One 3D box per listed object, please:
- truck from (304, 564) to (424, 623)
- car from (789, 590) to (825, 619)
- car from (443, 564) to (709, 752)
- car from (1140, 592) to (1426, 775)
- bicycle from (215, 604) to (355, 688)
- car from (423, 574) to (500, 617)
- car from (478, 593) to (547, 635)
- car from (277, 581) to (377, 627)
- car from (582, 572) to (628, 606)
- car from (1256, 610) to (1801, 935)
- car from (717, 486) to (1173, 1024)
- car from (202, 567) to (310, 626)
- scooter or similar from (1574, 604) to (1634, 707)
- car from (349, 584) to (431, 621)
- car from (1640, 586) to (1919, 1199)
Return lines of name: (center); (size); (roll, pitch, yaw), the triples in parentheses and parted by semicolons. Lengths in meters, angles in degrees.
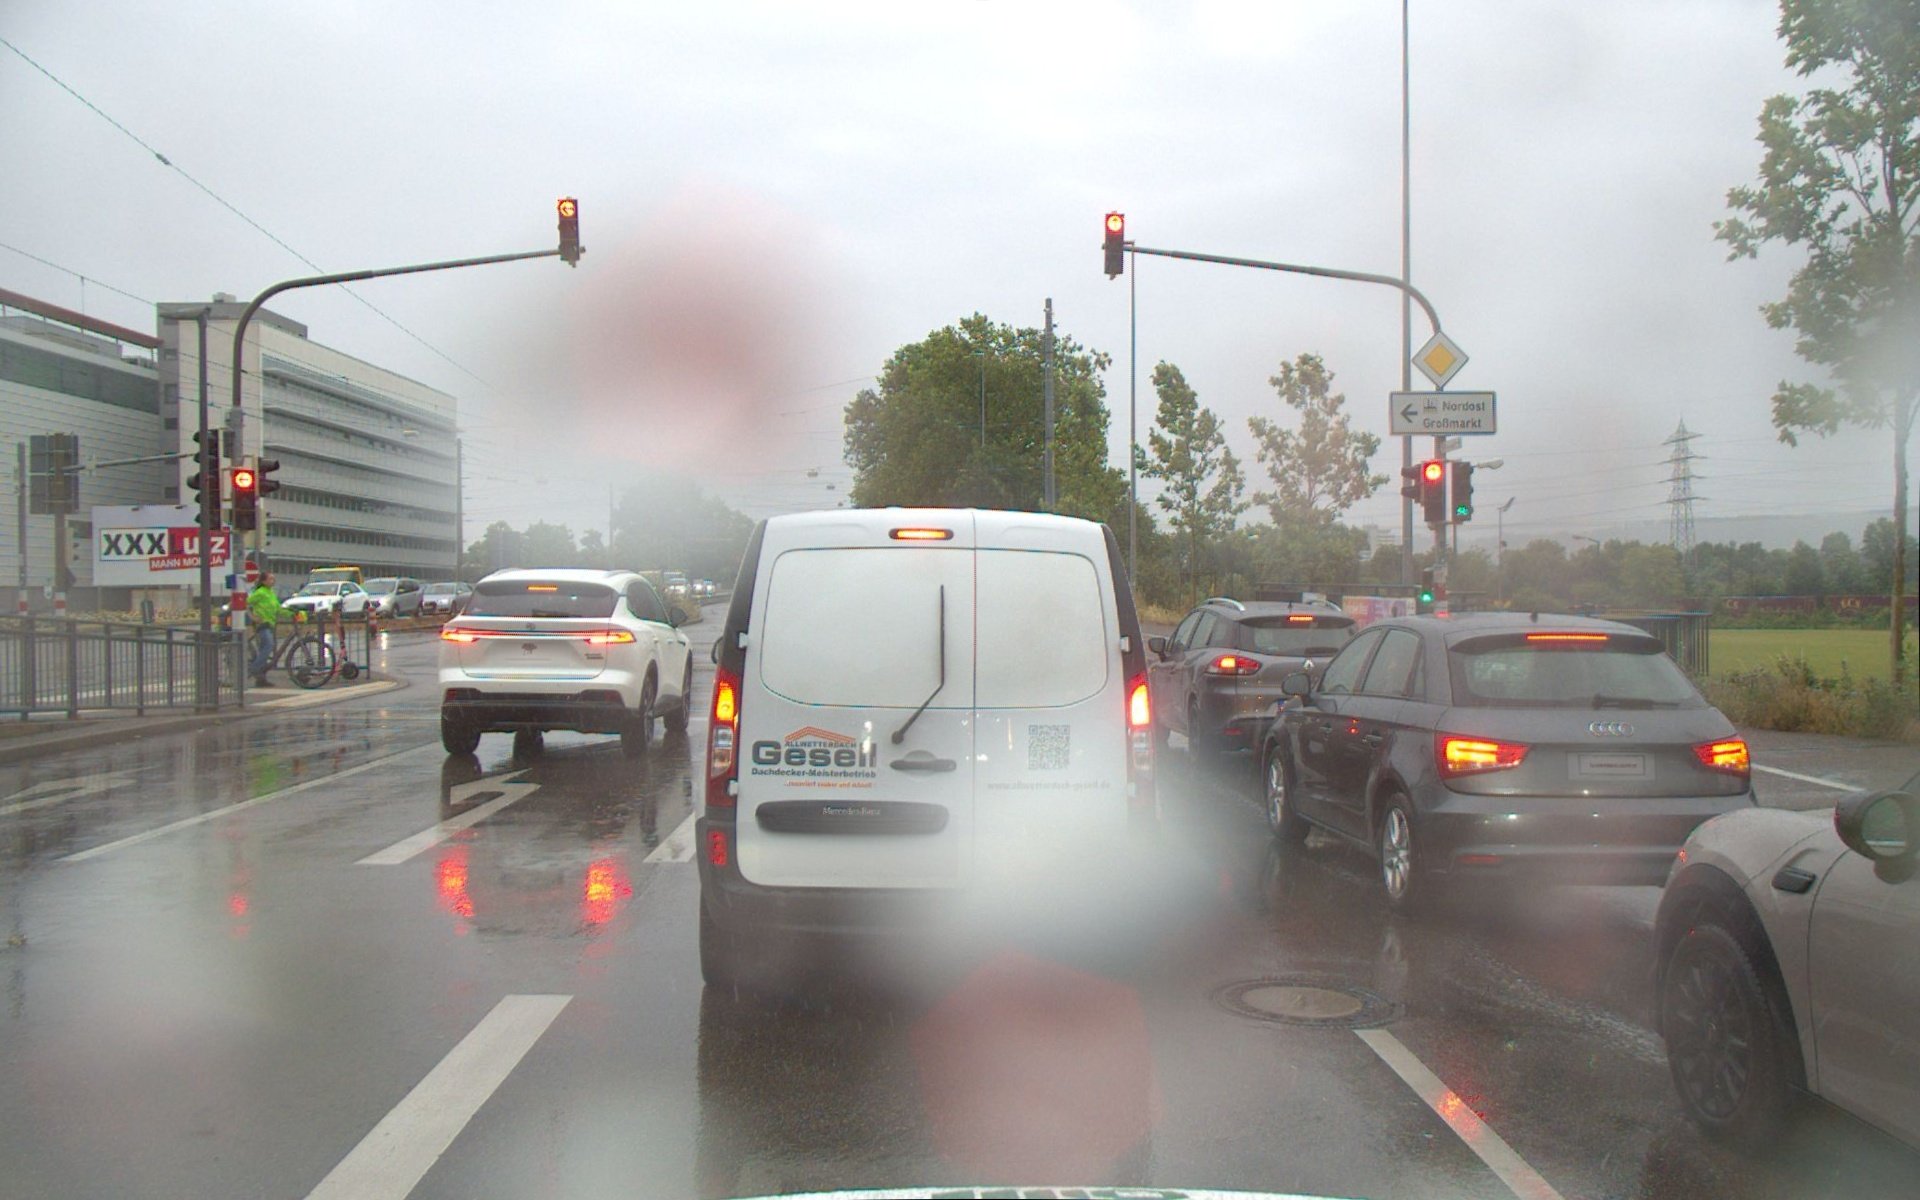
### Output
truck: (-25.106, -0.241, 70.078); (2.303, 2.319, 7.632); (1, 0, 0)
car: (-8.211, 0.233, 88.776); (1.585, 1.530, 3.706); (1, 0, -10)
car: (-3.562, 0.470, 16.112); (1.694, 1.562, 4.296); (1, 1, -2)
car: (2.874, 0.682, 15.565); (1.822, 1.453, 3.806); (1, 1, -2)
bicycle: (-9.500, 0.642, 23.301); (1.716, 1.052, 0.414); (4, -1, -3)
car: (-21.061, -0.179, 70.035); (1.853, 1.729, 4.001); (1, 0, 3)
car: (-20.809, 0.641, 77.105); (1.889, 1.859, 4.002); (1, 0, 4)
car: (-21.675, 0.148, 56.794); (1.662, 1.518, 3.878); (1, 0, 5)
car: (-22.224, -0.684, 103.725); (1.952, 2.049, 4.000); (1, 0, 1)
car: (2.787, 0.760, 8.956); (1.596, 1.368, 3.622); (1, 0, -2)
car: (-0.074, 0.532, 7.623); (1.534, 1.819, 3.999); (0, 0, -1)
car: (-25.299, -0.109, 59.597); (1.952, 2.049, 4.002); (1, 0, 3)
scooter or similar: (7.593, 0.640, 19.528); (0.240, 1.178, 1.186); (1, 0, 1)
car: (-21.577, 0.106, 62.749); (1.554, 1.359, 3.832); (1, -1, 4)
car: (2.957, 0.753, 3.210); (1.679, 1.534, 3.622); (1, 0, -2)
